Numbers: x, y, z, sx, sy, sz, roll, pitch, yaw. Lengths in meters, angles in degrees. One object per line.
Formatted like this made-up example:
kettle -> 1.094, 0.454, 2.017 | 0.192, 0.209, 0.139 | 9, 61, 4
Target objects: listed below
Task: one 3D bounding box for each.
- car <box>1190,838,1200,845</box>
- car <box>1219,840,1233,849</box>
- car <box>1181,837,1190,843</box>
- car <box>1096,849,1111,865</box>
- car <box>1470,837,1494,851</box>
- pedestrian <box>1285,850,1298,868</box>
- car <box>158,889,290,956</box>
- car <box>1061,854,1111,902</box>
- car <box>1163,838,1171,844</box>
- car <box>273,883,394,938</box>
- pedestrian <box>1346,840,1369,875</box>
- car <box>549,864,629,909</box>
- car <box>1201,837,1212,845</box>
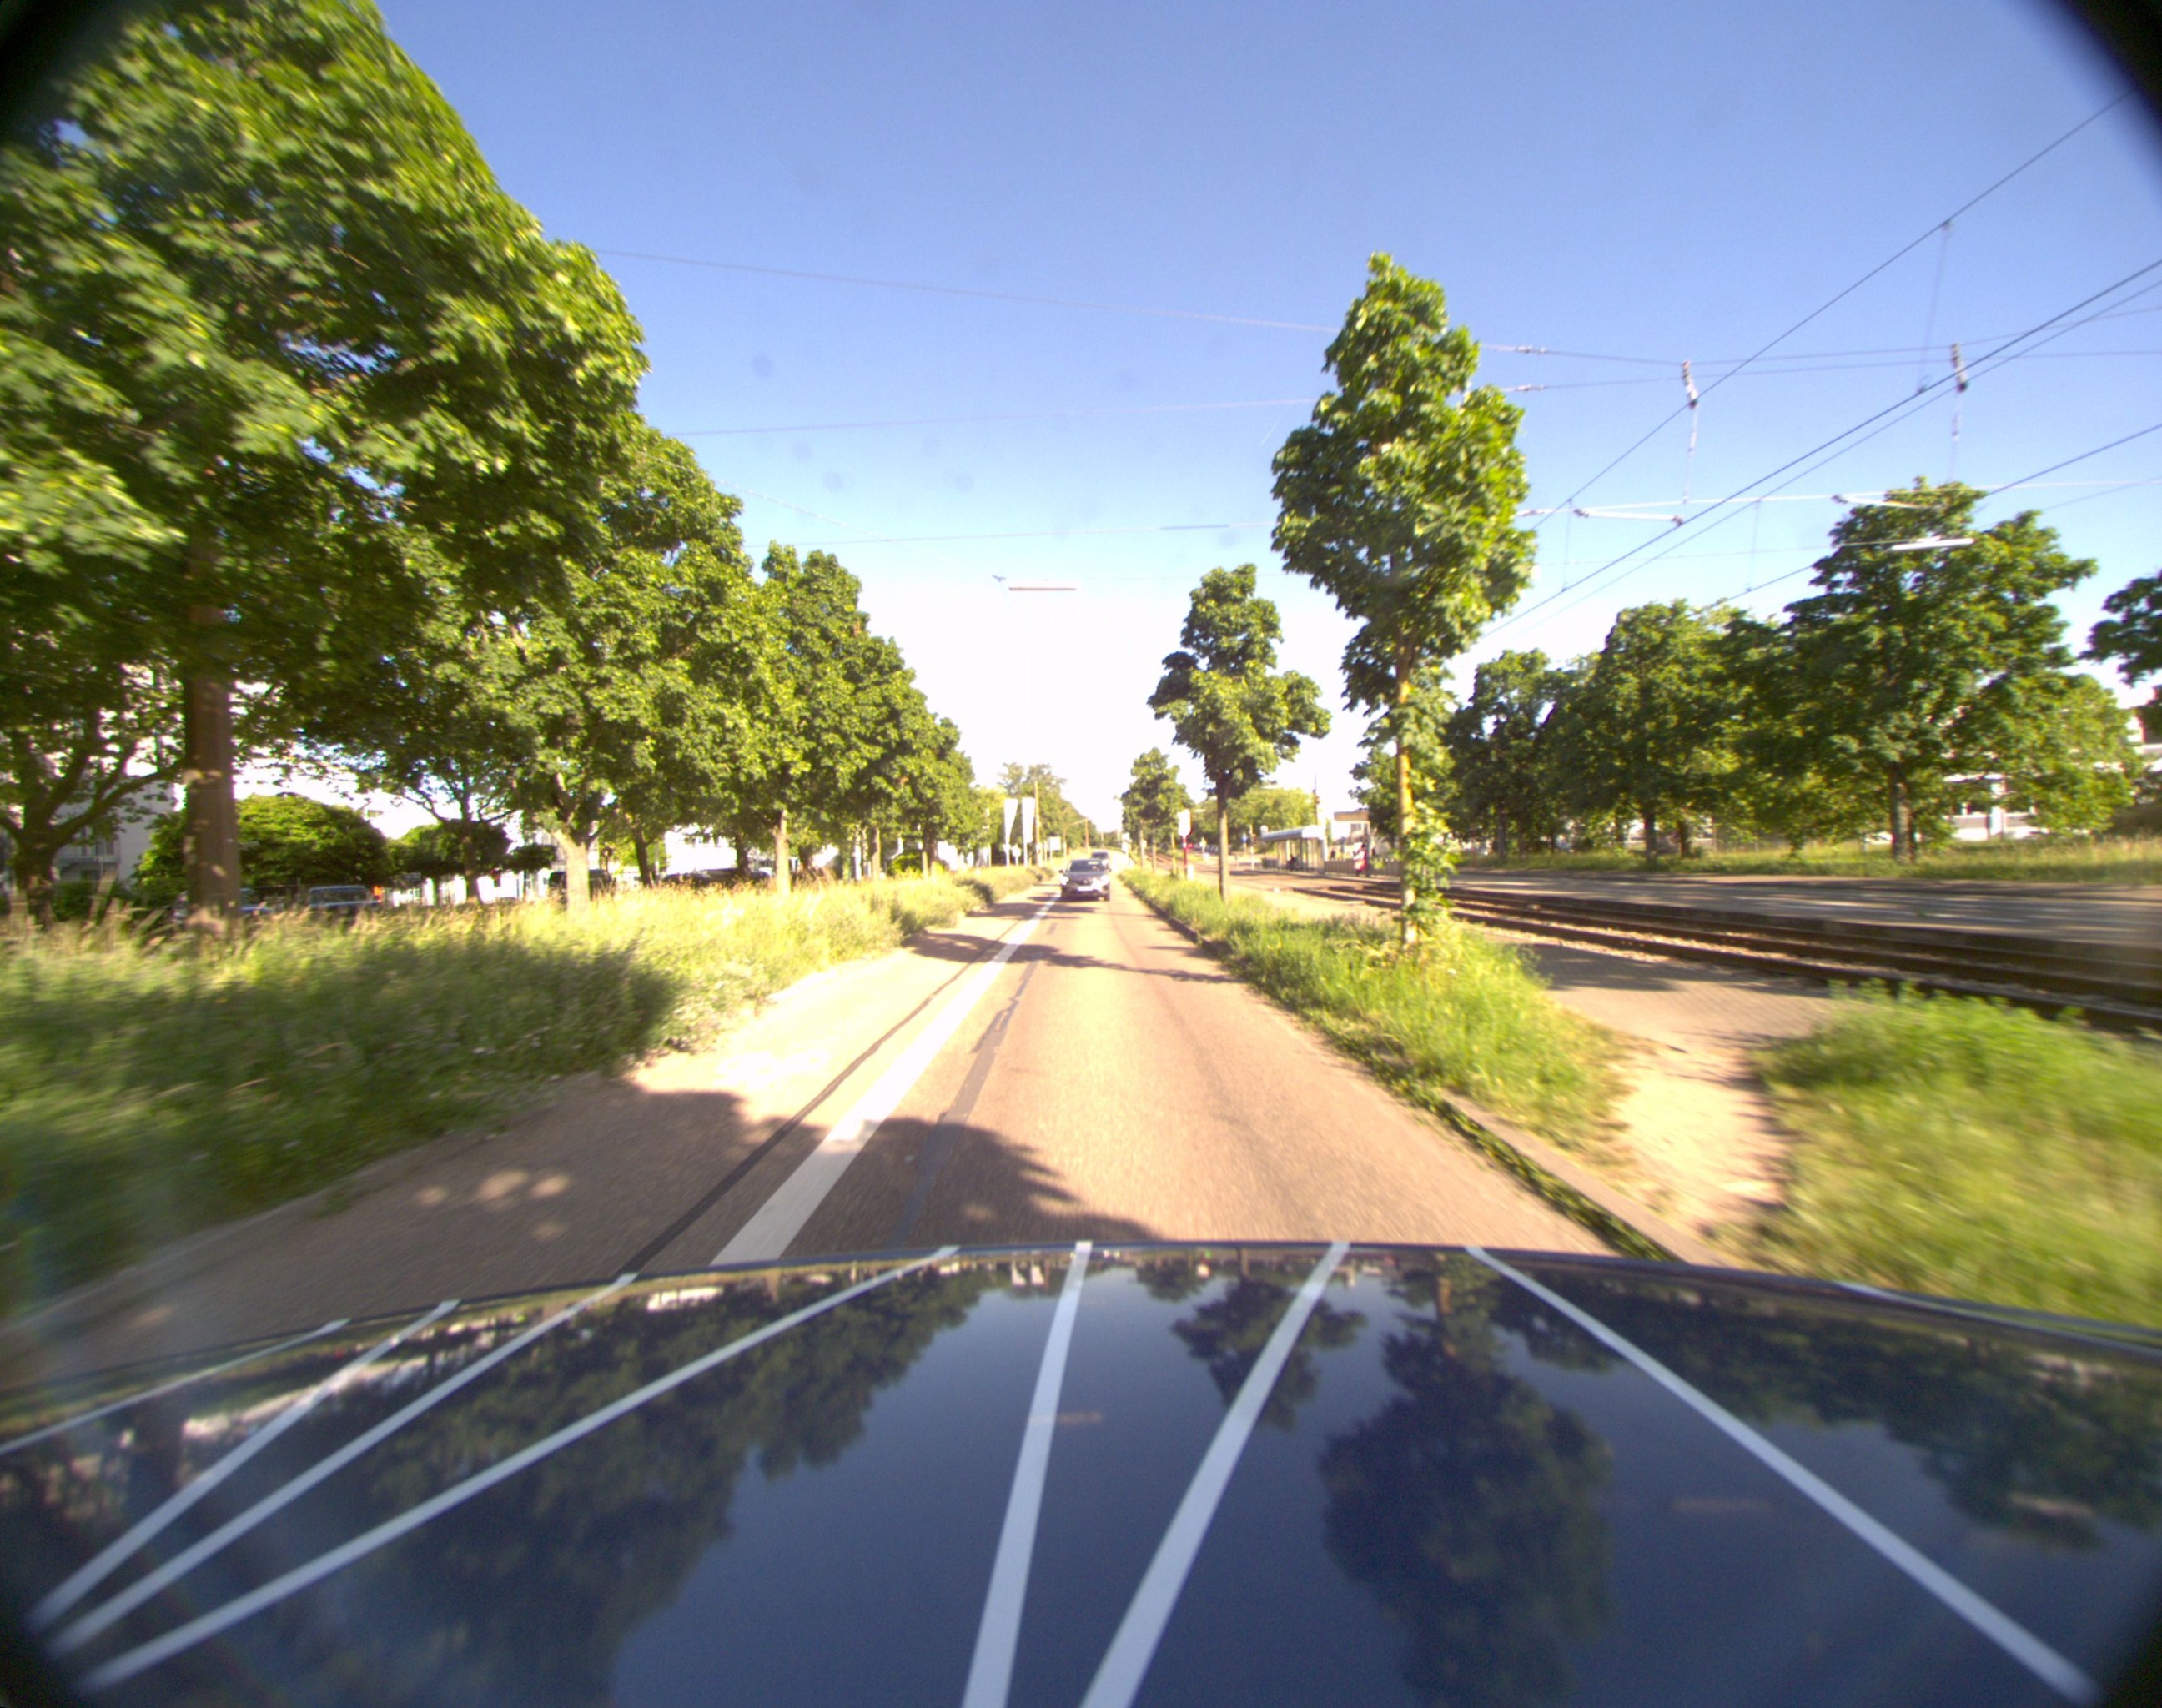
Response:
car -> 25.896, -2.792, 172.581 | 1.701, 1.575, 3.456 | -1, 0, -1
car -> 25.321, -1.631, 132.616 | 1.772, 1.575, 3.456 | -1, 0, -1
car -> 26.484, -3.534, 191.903 | 1.701, 1.575, 3.456 | -1, 0, -1
car -> 2.504, 0.332, 86.012 | 1.555, 1.764, 3.456 | -1, 0, -1
car -> 52.305, -1.345, 99.185 | 1.996, 1.696, 4.004 | -2, 0, 16
pedestrian -> 14.794, 0.355, 53.314 | 0.650, 1.241, 0.681 | 0, 0, -8
car -> -23.133, 1.773, 20.465 | 4.537, 1.506, 1.851 | -2, 0, 36
car -> 0.166, 0.868, 29.543 | 1.750, 1.585, 4.246 | -2, 1, -1
car -> 22.974, -3.528, 202.559 | 1.701, 1.575, 3.456 | -1, 0, -1
car -> -23.142, 1.708, 23.481 | 4.537, 1.440, 1.851 | -2, 0, 36
pedestrian -> 14.125, 0.157, 38.836 | 0.786, 1.741, 0.781 | -2, 1, 0
car -> -23.091, 1.502, 35.597 | 2.084, 1.865, 5.172 | -3, 1, -44
car -> 25.144, -2.624, 152.345 | 1.701, 1.575, 3.456 | -1, 0, -1
